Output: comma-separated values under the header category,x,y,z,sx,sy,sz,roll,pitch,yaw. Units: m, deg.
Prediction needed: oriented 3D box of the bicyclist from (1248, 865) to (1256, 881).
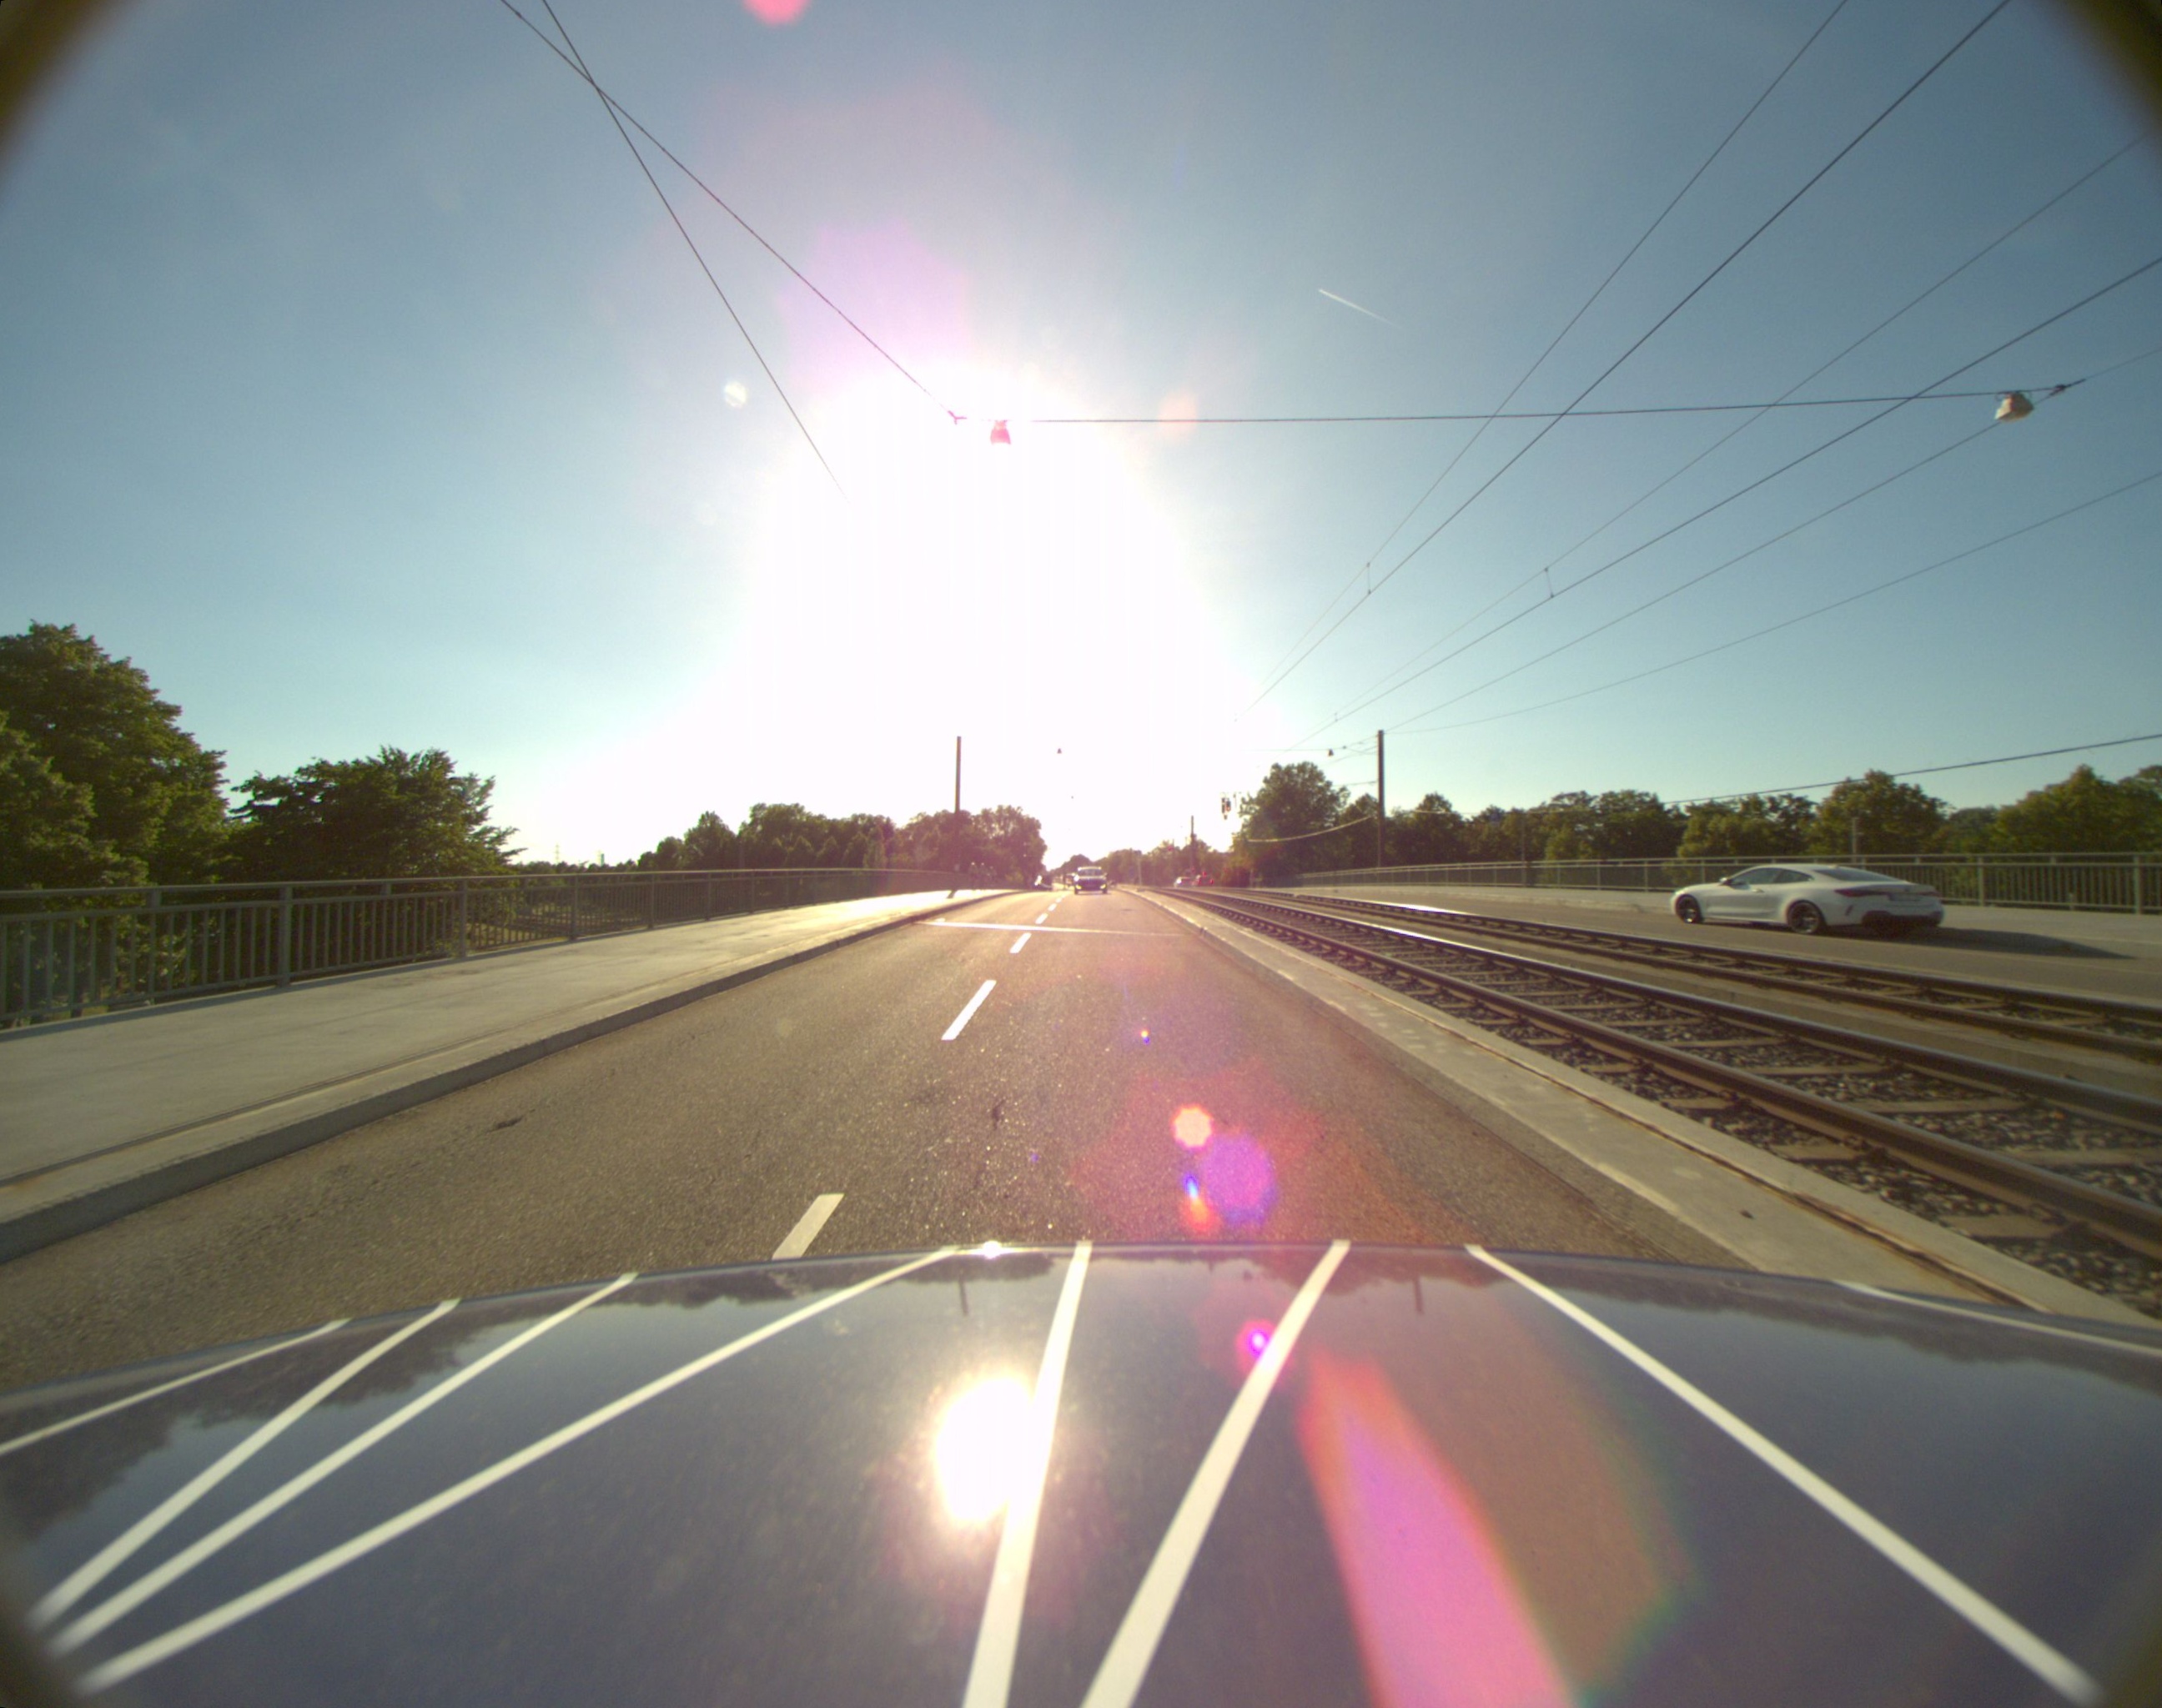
category,x,y,z,sx,sy,sz,roll,pitch,yaw
bicyclist,18.182,2.010,80.669,0.626,1.623,0.936,-1,-1,2

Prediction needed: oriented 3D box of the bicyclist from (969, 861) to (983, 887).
category,x,y,z,sx,sy,sz,roll,pitch,yaw
bicyclist,-6.070,1.146,44.002,0.627,1.499,1.006,-1,-1,-1

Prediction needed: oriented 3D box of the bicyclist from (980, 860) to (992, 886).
category,x,y,z,sx,sy,sz,roll,pitch,yaw
bicyclist,-6.029,1.211,48.121,0.626,1.583,0.931,-1,-1,0

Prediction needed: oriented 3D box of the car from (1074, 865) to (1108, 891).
category,x,y,z,sx,sy,sz,roll,pitch,yaw
car,0.521,1.320,42.134,1.802,1.345,4.001,0,-2,0

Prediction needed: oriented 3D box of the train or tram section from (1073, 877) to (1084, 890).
category,x,y,z,sx,sy,sz,roll,pitch,yaw
train or tram section,-0.921,9.025,234.874,2.570,3.877,11.670,-1,-1,-4

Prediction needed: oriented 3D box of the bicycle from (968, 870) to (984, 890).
category,x,y,z,sx,sy,sz,roll,pitch,yaw
bicycle,-6.068,1.525,44.033,0.627,1.115,2.260,-1,-2,-1

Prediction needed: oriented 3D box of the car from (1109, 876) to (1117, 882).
category,x,y,z,sx,sy,sz,roll,pitch,yaw
car,8.621,6.714,204.963,1.853,1.493,4.220,-1,-1,0

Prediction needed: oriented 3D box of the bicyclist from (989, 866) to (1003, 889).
category,x,y,z,sx,sy,sz,roll,pitch,yaw
bicyclist,-5.845,1.604,52.275,0.814,1.552,0.897,-1,-2,0

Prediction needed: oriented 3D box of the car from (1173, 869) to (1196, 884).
category,x,y,z,sx,sy,sz,roll,pitch,yaw
car,12.287,2.679,90.527,2.006,1.627,5.091,-1,-1,0

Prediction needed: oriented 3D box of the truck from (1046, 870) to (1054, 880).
category,x,y,z,sx,sy,sz,roll,pitch,yaw
truck,-10.322,7.029,250.949,2.611,3.184,7.869,-1,-1,-4

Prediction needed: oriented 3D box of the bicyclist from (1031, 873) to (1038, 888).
category,x,y,z,sx,sy,sz,roll,pitch,yaw
bicyclist,-5.643,3.187,91.581,0.733,1.679,1.202,-3,-1,-3

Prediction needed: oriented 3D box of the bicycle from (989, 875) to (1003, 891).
category,x,y,z,sx,sy,sz,roll,pitch,yaw
bicycle,-5.845,2.006,52.242,0.685,1.115,2.217,-1,-3,0

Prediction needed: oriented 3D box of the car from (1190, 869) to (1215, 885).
category,x,y,z,sx,sy,sz,roll,pitch,yaw
car,11.952,2.282,74.878,1.812,1.510,4.002,1,-2,1

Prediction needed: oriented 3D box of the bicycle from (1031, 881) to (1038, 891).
category,x,y,z,sx,sy,sz,roll,pitch,yaw
bicycle,-5.589,3.846,91.543,0.733,1.115,2.742,-3,-2,-3

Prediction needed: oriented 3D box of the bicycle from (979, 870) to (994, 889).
category,x,y,z,sx,sy,sz,roll,pitch,yaw
bicycle,-5.983,1.605,48.132,0.626,1.115,2.042,-1,-1,0

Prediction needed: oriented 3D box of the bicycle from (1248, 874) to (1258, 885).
category,x,y,z,sx,sy,sz,roll,pitch,yaw
bicycle,18.188,2.673,80.443,0.626,1.115,2.260,-1,-1,2

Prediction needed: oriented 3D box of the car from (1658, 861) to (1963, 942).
category,x,y,z,sx,sy,sz,roll,pitch,yaw
car,14.904,0.879,16.038,1.688,1.348,4.920,1,0,0
